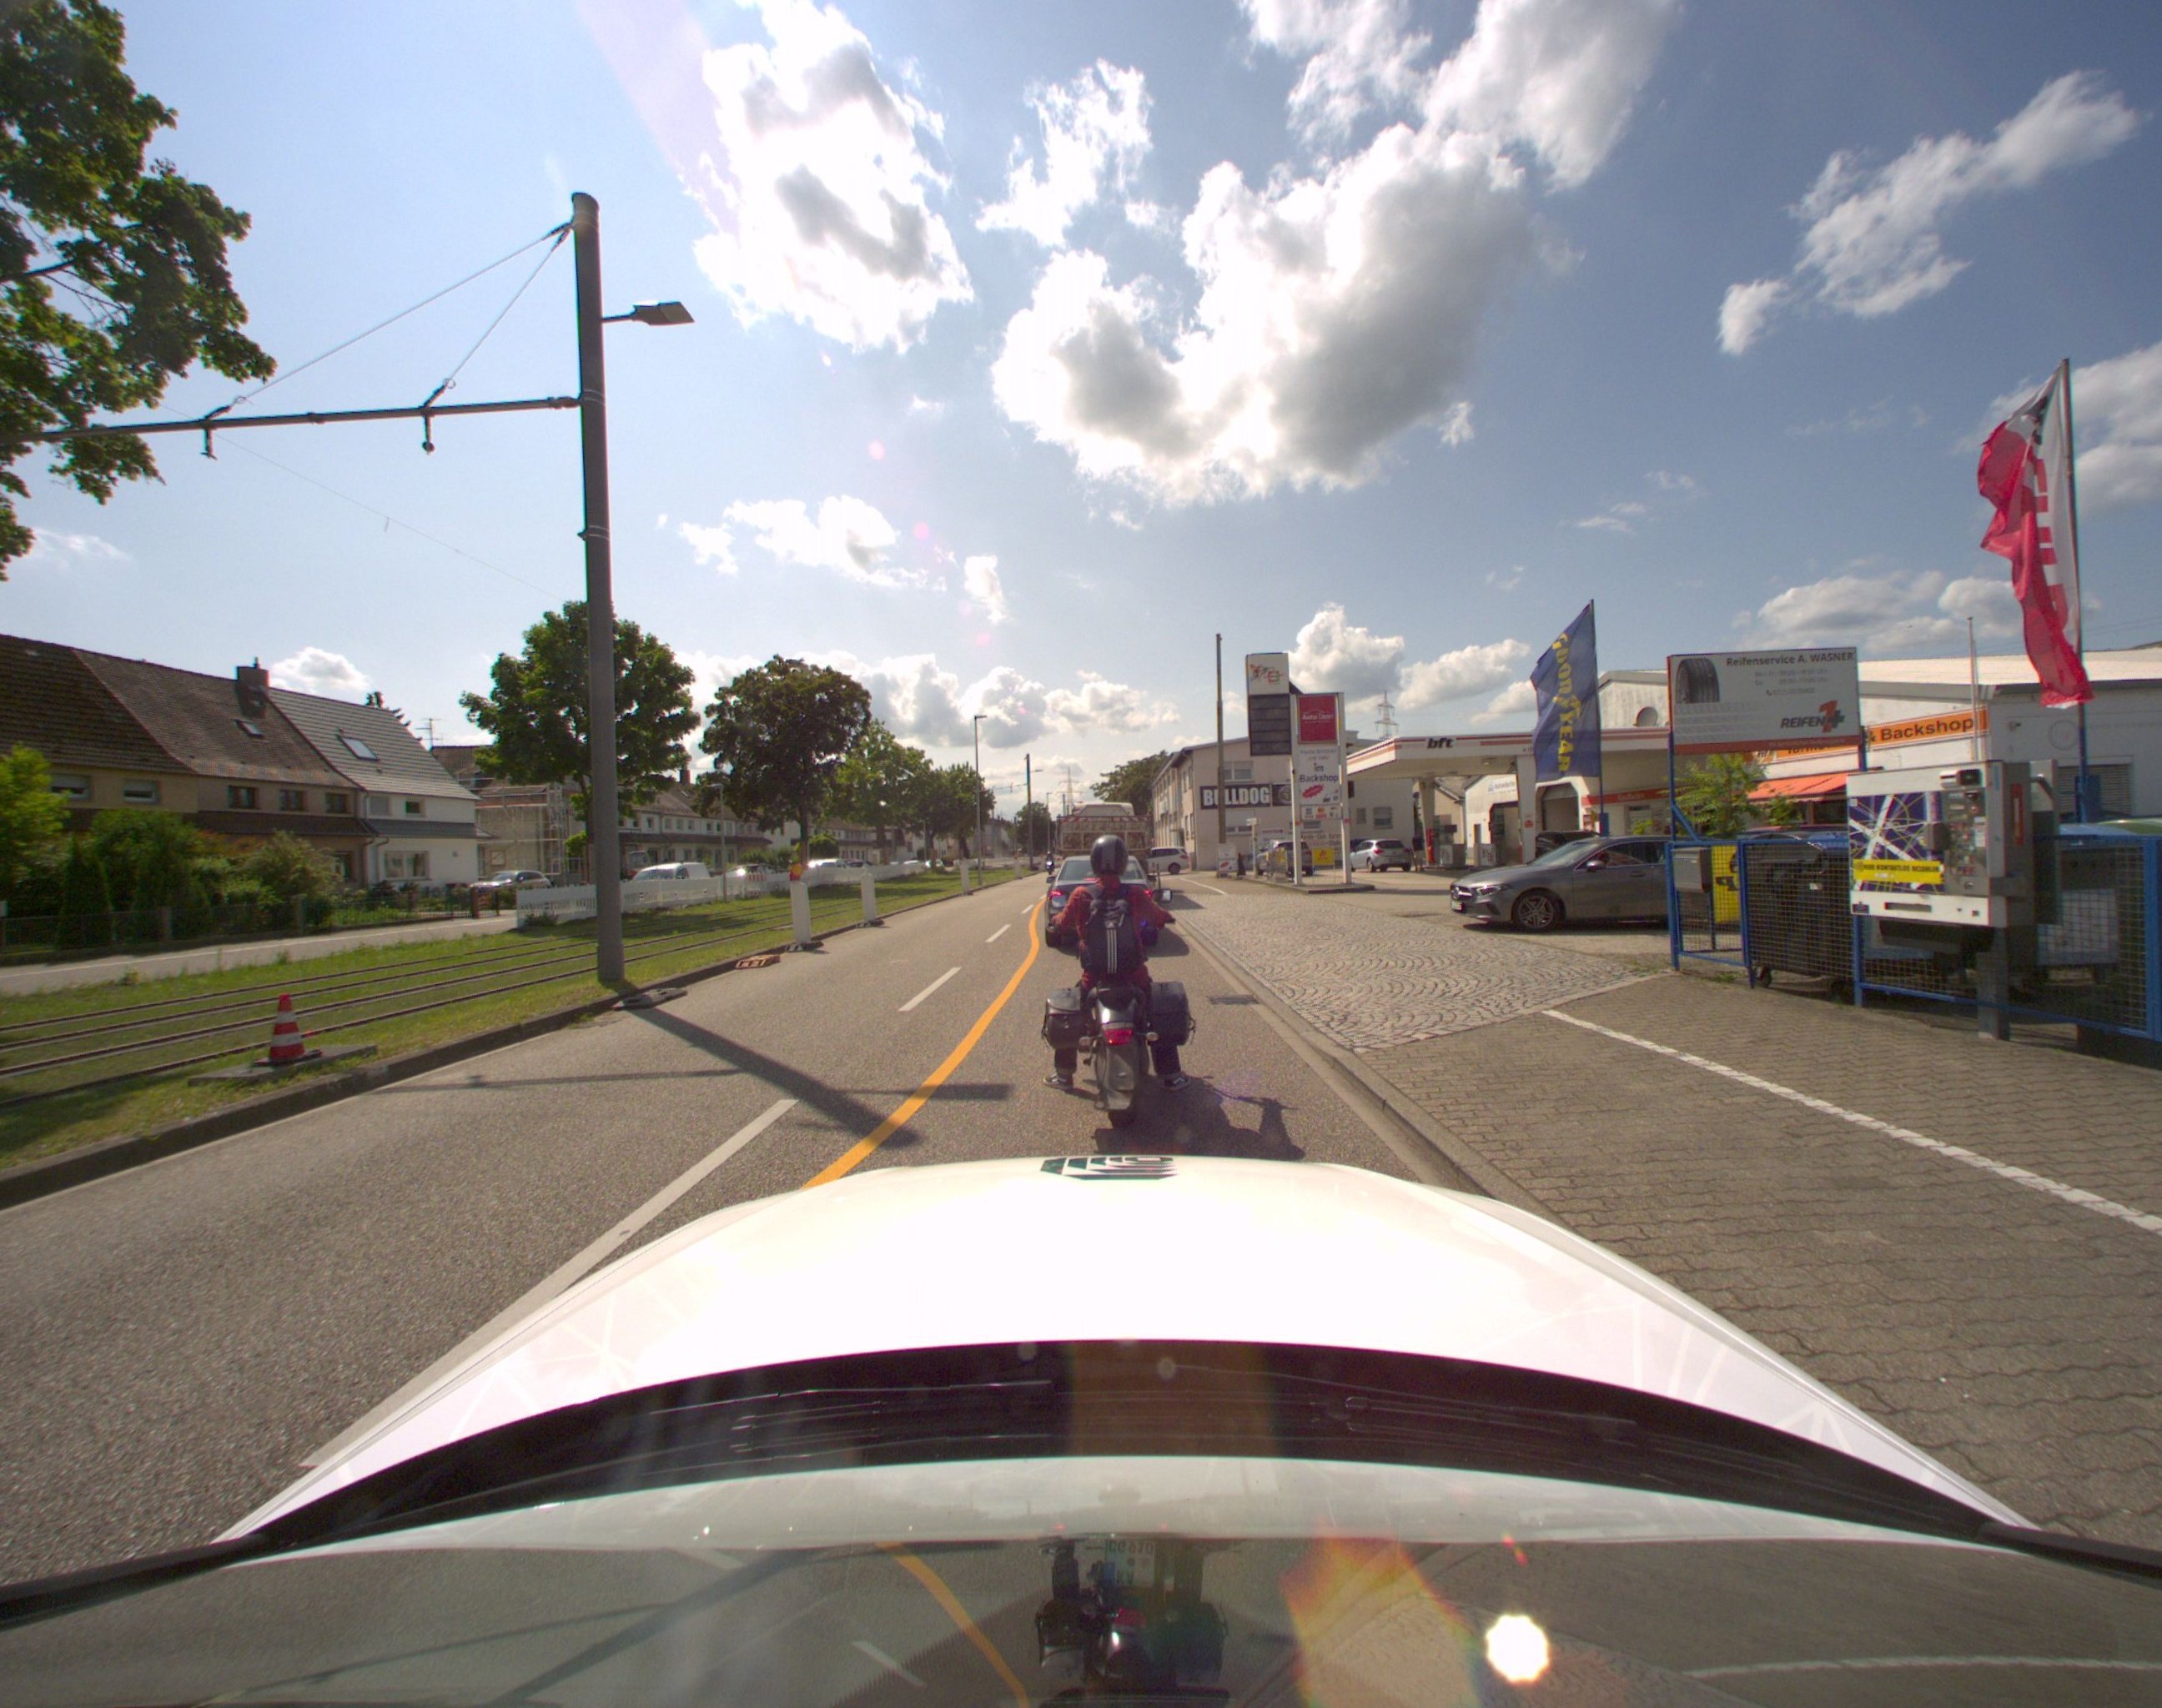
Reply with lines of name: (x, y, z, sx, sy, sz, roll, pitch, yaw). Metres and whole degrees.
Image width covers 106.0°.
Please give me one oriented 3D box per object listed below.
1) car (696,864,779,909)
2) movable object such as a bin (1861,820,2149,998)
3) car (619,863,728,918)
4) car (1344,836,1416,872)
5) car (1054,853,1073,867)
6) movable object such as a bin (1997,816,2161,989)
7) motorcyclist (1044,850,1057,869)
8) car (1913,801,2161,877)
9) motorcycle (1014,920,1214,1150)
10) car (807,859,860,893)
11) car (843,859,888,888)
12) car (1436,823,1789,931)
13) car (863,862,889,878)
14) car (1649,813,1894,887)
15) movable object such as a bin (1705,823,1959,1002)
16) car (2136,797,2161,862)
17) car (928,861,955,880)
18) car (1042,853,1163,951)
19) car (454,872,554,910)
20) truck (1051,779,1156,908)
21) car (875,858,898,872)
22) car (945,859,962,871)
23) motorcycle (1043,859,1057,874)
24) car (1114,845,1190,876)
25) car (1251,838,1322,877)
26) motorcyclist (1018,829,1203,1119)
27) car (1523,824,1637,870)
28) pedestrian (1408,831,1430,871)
car: (-15.404, 1.390, 36.803, 1.769, 1.774, 4.230, -2, 0, 2)
movable object such as a bin: (8.087, 0.445, 7.223, 1.104, 1.396, 1.244, -2, 0, 1)
car: (-15.438, 1.316, 31.160, 1.769, 1.821, 4.366, -2, 0, 2)
car: (13.480, -0.007, 36.924, 1.800, 1.503, 3.832, -2, 0, -1)
car: (-1.967, 0.685, 93.856, 1.816, 1.452, 4.326, -3, 0, 2)
movable object such as a bin: (9.490, 0.375, 7.135, 1.397, 1.396, 1.338, -2, 0, 1)
motorcyclist: (-2.225, 0.397, 58.845, 0.866, 1.378, 0.800, -2, 0, -1)
car: (21.526, -0.339, 18.169, 4.180, 1.463, 1.587, -2, 0, 2)
motorcycle: (0.208, 1.025, 5.449, 0.975, 0.897, 2.654, -2, 0, 2)
car: (-15.060, 1.328, 49.865, 1.769, 1.867, 4.130, -2, 0, 2)
car: (-14.801, 1.336, 56.042, 1.769, 1.805, 4.130, -2, 0, 2)
car: (8.006, 0.346, 12.651, 4.247, 1.415, 1.678, -2, 0, 9)
car: (-24.385, 1.839, 97.046, 1.769, 1.722, 4.130, -2, 0, 2)
car: (15.778, -0.088, 18.762, 4.180, 1.463, 1.587, -2, 0, 2)
movable object such as a bin: (6.693, 0.479, 7.363, 1.104, 1.436, 1.244, -2, 0, 1)
car: (26.530, -0.635, 18.006, 4.180, 1.463, 1.587, -2, 0, 2)
car: (-13.725, 1.632, 80.459, 1.769, 1.722, 4.130, -2, 0, 2)
car: (0.385, 0.722, 14.259, 1.816, 1.452, 4.002, 0, 0, 2)
car: (-27.433, 1.726, 38.898, 1.769, 1.519, 4.002, -2, 0, 2)
truck: (0.731, -0.287, 25.504, 2.628, 3.296, 8.059, -2, 0, 2)
car: (-25.157, 1.402, 105.207, 1.769, 1.722, 4.130, -2, 0, 2)
car: (-19.630, 1.635, 125.921, 1.769, 1.722, 4.130, -2, 0, 2)
motorcycle: (-2.214, 0.866, 58.716, 0.866, 1.021, 2.244, -2, 0, -1)
car: (4.058, 0.360, 47.190, 4.217, 1.543, 1.672, -2, 0, -1)
car: (9.120, 0.151, 36.457, 1.665, 1.562, 4.235, -2, 0, -6)
motorcyclist: (0.184, 0.677, 5.145, 0.975, 1.602, 1.088, -2, 0, 1)
car: (18.123, -0.246, 29.788, 1.800, 1.503, 3.833, -2, 0, 0)
pedestrian: (14.656, -0.131, 35.322, 0.701, 1.656, 0.551, -2, 0, 37)
